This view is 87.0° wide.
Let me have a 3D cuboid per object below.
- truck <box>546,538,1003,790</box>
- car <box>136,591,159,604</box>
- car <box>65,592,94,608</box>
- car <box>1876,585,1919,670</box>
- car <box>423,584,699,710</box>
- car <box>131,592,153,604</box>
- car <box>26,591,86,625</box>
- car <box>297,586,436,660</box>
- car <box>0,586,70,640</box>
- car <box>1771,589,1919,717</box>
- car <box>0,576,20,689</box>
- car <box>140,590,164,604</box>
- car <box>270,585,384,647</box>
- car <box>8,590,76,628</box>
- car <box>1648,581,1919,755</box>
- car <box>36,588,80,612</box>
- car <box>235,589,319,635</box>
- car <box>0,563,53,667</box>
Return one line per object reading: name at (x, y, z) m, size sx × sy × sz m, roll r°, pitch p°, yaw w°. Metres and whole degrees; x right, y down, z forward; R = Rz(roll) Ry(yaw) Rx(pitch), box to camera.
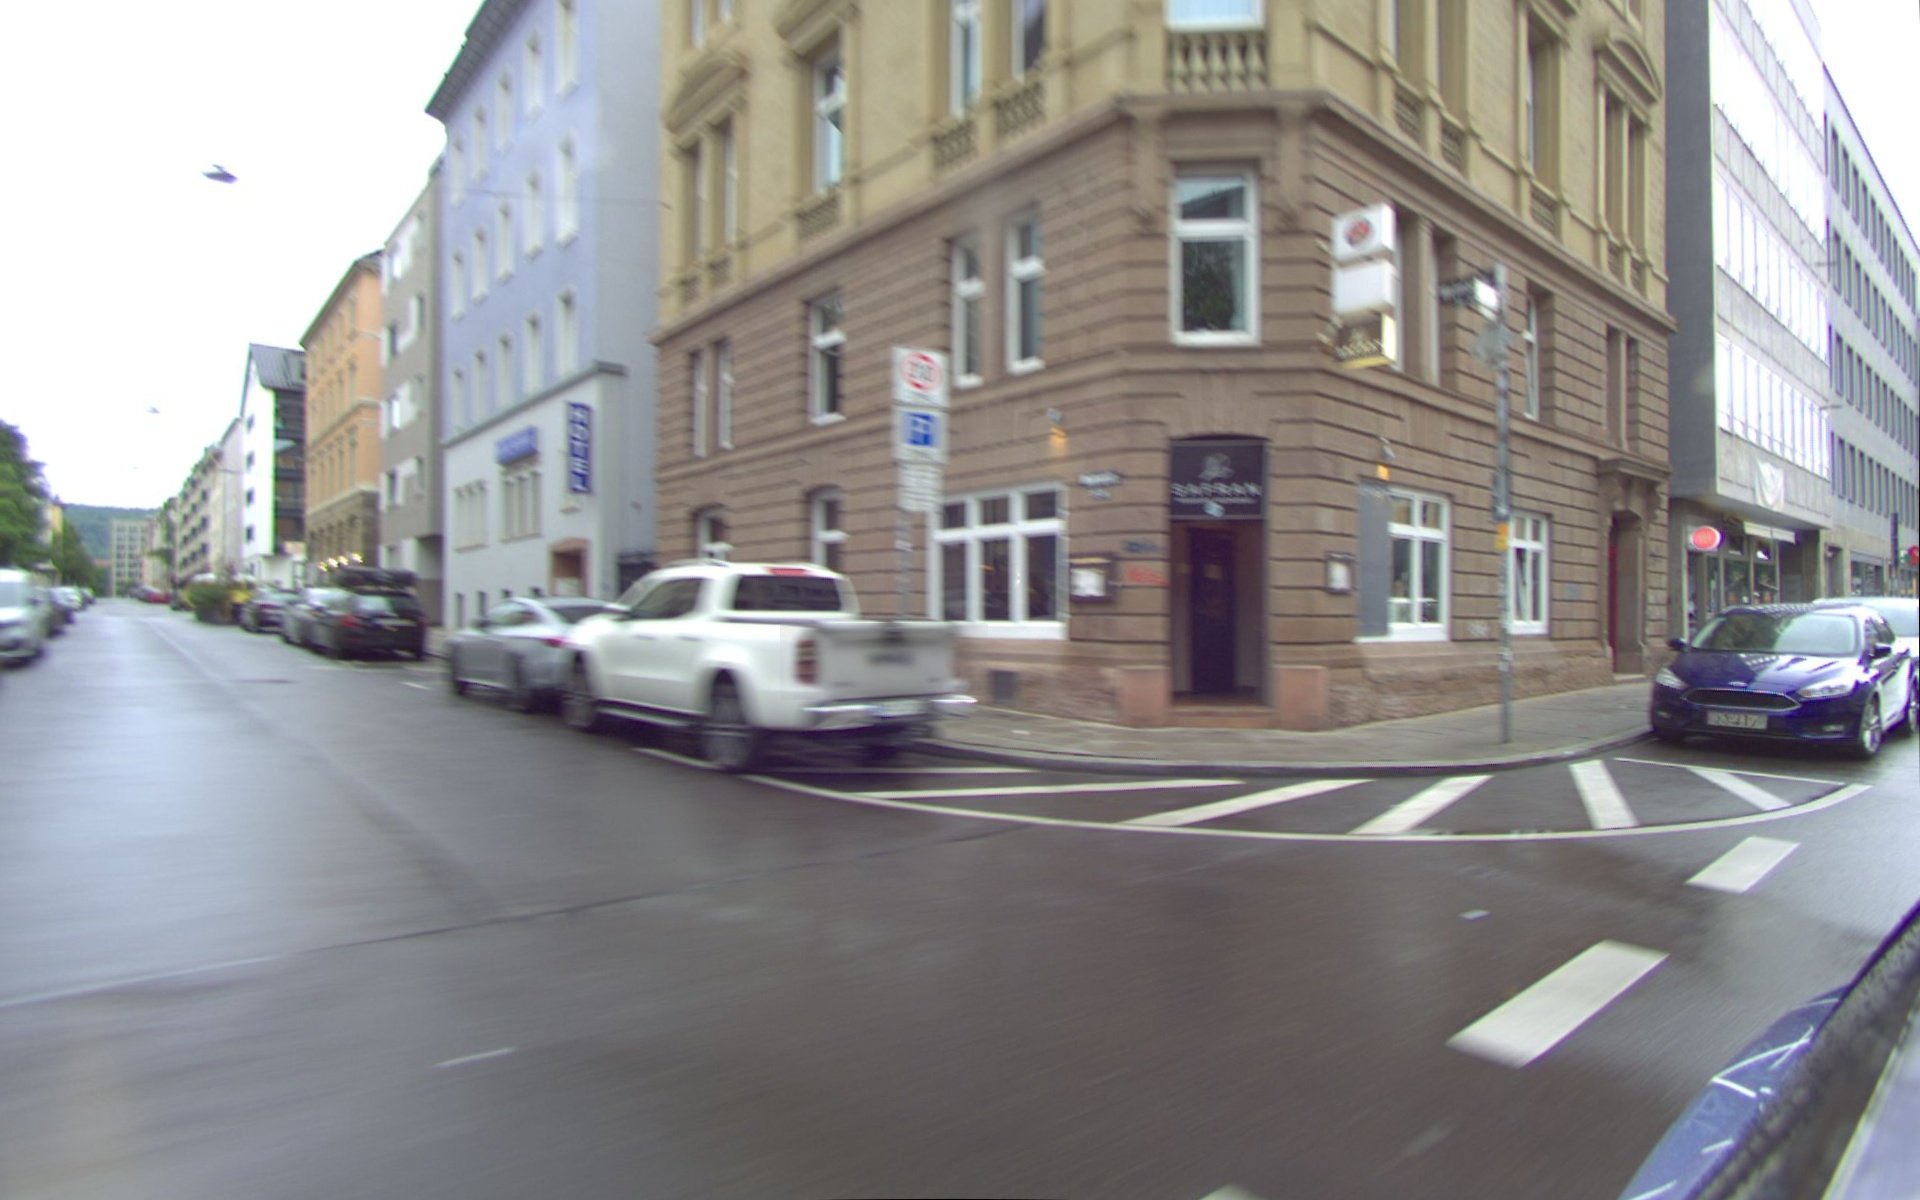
truck at (-2.085, 0.461, 9.954) m, size 2.049 × 1.841 × 5.063 m, roll 0°, pitch 0°, yaw -43°
car at (-92.141, -0.290, 114.775) m, size 1.756 × 1.449 × 4.422 m, roll 0°, pitch 0°, yaw -42°
car at (-81.942, -0.041, 94.230) m, size 1.754 × 1.464 × 4.221 m, roll 0°, pitch 0°, yaw -38°
car at (20.624, 0.513, 20.867) m, size 4.492 × 1.614 × 1.997 m, roll -2°, pitch 1°, yaw -40°
car at (-5.601, 0.525, 13.867) m, size 2.059 × 1.425 × 4.564 m, roll 0°, pitch 0°, yaw -42°
car at (-99.794, -0.280, 123.444) m, size 1.756 × 1.449 × 4.422 m, roll 0°, pitch 0°, yaw -42°
car at (-40.987, 0.329, 45.957) m, size 1.754 × 1.464 × 4.221 m, roll 0°, pitch 0°, yaw -38°
car at (-12.982, 0.439, 22.025) m, size 1.756 × 1.449 × 4.422 m, roll 0°, pitch 0°, yaw -42°
car at (-27.229, 0.345, 29.429) m, size 1.754 × 1.464 × 4.221 m, roll 0°, pitch 0°, yaw -38°
car at (12.819, 0.649, 14.019) m, size 4.279 × 1.542 × 1.748 m, roll 0°, pitch -1°, yaw -41°
car at (-14.087, 0.449, 13.621) m, size 1.754 × 1.550 × 3.997 m, roll 0°, pitch 0°, yaw -38°
car at (-86.564, -0.289, 108.363) m, size 1.756 × 1.449 × 4.422 m, roll 0°, pitch 0°, yaw -42°
car at (-16.360, 0.377, 26.053) m, size 1.756 × 1.449 × 4.422 m, roll 0°, pitch 0°, yaw -42°
car at (-37.716, 0.336, 41.678) m, size 1.754 × 1.464 × 4.221 m, roll 0°, pitch 0°, yaw -38°
car at (9.148, 0.619, 10.954) m, size 4.182 × 1.535 × 1.723 m, roll 0°, pitch -1°, yaw -40°
car at (-55.695, -0.008, 62.530) m, size 1.754 × 1.464 × 4.221 m, roll 0°, pitch 0°, yaw -38°
car at (-23.223, 0.373, 34.338) m, size 1.756 × 1.449 × 4.422 m, roll 0°, pitch 0°, yaw -42°
car at (-18.680, 0.267, 19.301) m, size 1.754 × 1.847 × 4.221 m, roll 0°, pitch 0°, yaw -38°
